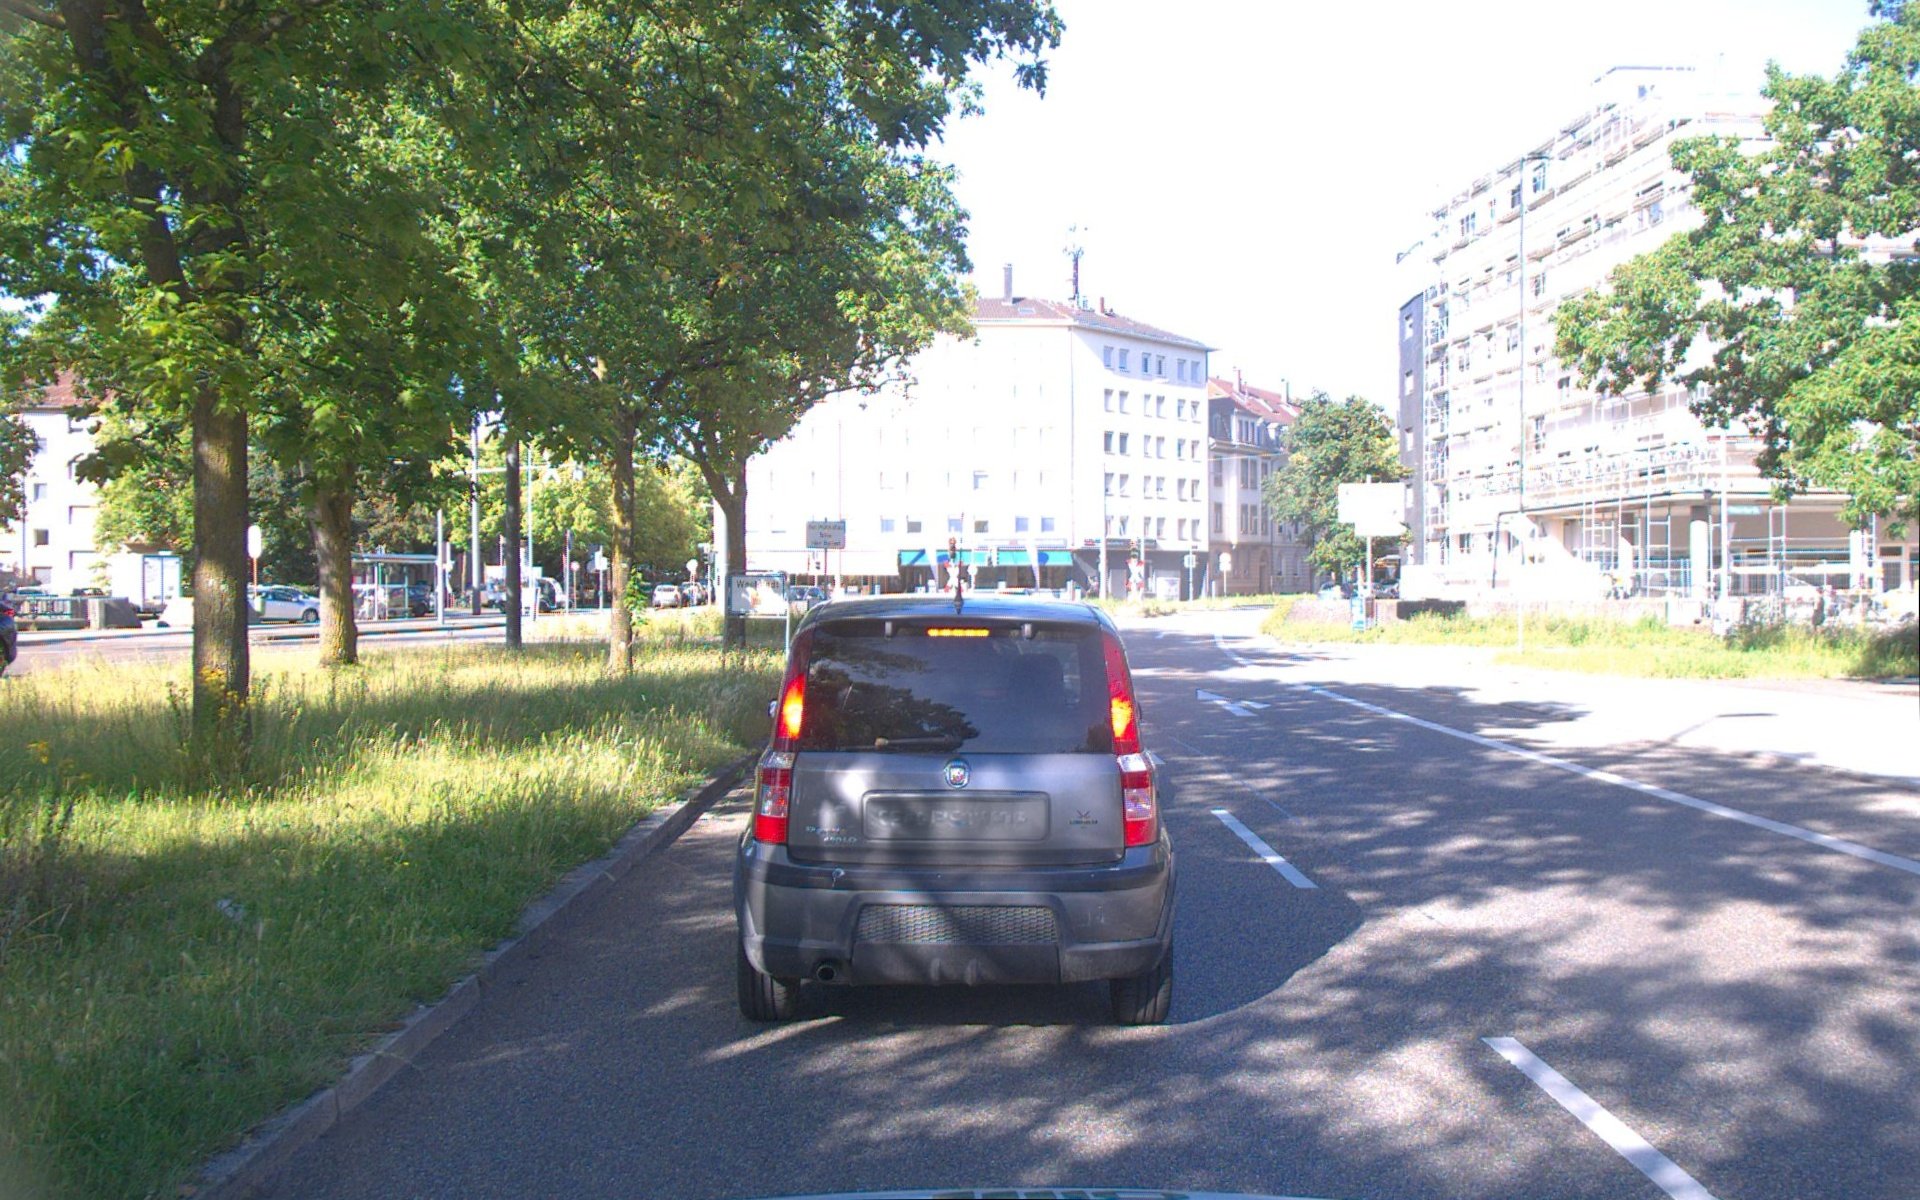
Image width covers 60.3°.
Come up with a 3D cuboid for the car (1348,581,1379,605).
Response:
[{"bbox_3d":[23.008,-0.401,94.237,1.495,1.337,3.289,0,1,17],"label":"car"}]

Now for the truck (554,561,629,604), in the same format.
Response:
[{"bbox_3d":[-28.362,-1.361,127.359,5.371,3.224,2.341,0,0,28],"label":"truck"}]

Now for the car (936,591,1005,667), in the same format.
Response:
[{"bbox_3d":[0.179,0.553,33.853,1.328,1.475,3.265,0,0,-1],"label":"car"}]

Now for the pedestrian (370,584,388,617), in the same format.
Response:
[{"bbox_3d":[-25.667,0.015,73.065,0.407,1.415,0.626,0,0,26],"label":"pedestrian"}]

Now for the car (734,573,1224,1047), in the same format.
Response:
[{"bbox_3d":[0.036,0.660,7.406,1.595,1.534,3.999,0,1,-1],"label":"car"}]

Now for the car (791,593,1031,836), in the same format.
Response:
[{"bbox_3d":[-0.316,0.680,11.621,1.434,1.425,3.393,0,1,-1],"label":"car"}]

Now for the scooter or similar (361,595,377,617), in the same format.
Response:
[{"bbox_3d":[-25.916,0.249,72.539,0.411,0.943,0.534,0,0,25],"label":"scooter or similar"}]

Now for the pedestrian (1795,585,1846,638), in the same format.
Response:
[{"bbox_3d":[24.423,0.310,46.955,0.882,1.472,0.957,-1,0,-27],"label":"pedestrian"}]

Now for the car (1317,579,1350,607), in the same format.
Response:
[{"bbox_3d":[20.503,-0.399,90.707,1.646,1.475,3.574,0,1,15],"label":"car"}]

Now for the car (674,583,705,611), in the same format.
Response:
[{"bbox_3d":[-20.157,-0.273,123.276,1.954,2.049,3.996,0,1,-5],"label":"car"}]

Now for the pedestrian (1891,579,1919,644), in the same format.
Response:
[{"bbox_3d":[25.166,0.301,43.421,0.878,1.682,0.978,-1,0,-28],"label":"pedestrian"}]

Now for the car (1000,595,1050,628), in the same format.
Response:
[{"bbox_3d":[2.285,0.398,57.695,1.118,1.083,2.723,0,1,17],"label":"car"}]

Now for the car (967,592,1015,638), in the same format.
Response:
[{"bbox_3d":[0.919,0.440,49.599,1.328,1.304,2.875,0,1,-1],"label":"car"}]

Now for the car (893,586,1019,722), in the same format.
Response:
[{"bbox_3d":[-0.070,0.602,20.665,1.434,1.534,3.504,0,1,-1],"label":"car"}]

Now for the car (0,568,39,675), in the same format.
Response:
[{"bbox_3d":[-16.265,0.355,24.760,1.787,1.676,4.464,0,1,13],"label":"car"}]

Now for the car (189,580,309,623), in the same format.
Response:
[{"bbox_3d":[-29.955,0.045,69.774,1.961,1.713,4.302,0,1,38],"label":"car"}]

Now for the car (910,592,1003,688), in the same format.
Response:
[{"bbox_3d":[-0.078,0.607,27.271,1.434,1.449,3.381,0,1,-1],"label":"car"}]

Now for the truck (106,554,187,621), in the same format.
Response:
[{"bbox_3d":[-35.744,-0.556,72.680,3.932,2.854,1.987,0,1,44],"label":"truck"}]

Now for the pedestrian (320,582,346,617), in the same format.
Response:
[{"bbox_3d":[-29.313,-0.036,77.370,0.904,1.636,0.794,0,0,38],"label":"pedestrian"}]

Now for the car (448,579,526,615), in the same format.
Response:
[{"bbox_3d":[-27.932,-0.188,97.742,4.093,2.049,1.930,0,0,-3],"label":"car"}]
